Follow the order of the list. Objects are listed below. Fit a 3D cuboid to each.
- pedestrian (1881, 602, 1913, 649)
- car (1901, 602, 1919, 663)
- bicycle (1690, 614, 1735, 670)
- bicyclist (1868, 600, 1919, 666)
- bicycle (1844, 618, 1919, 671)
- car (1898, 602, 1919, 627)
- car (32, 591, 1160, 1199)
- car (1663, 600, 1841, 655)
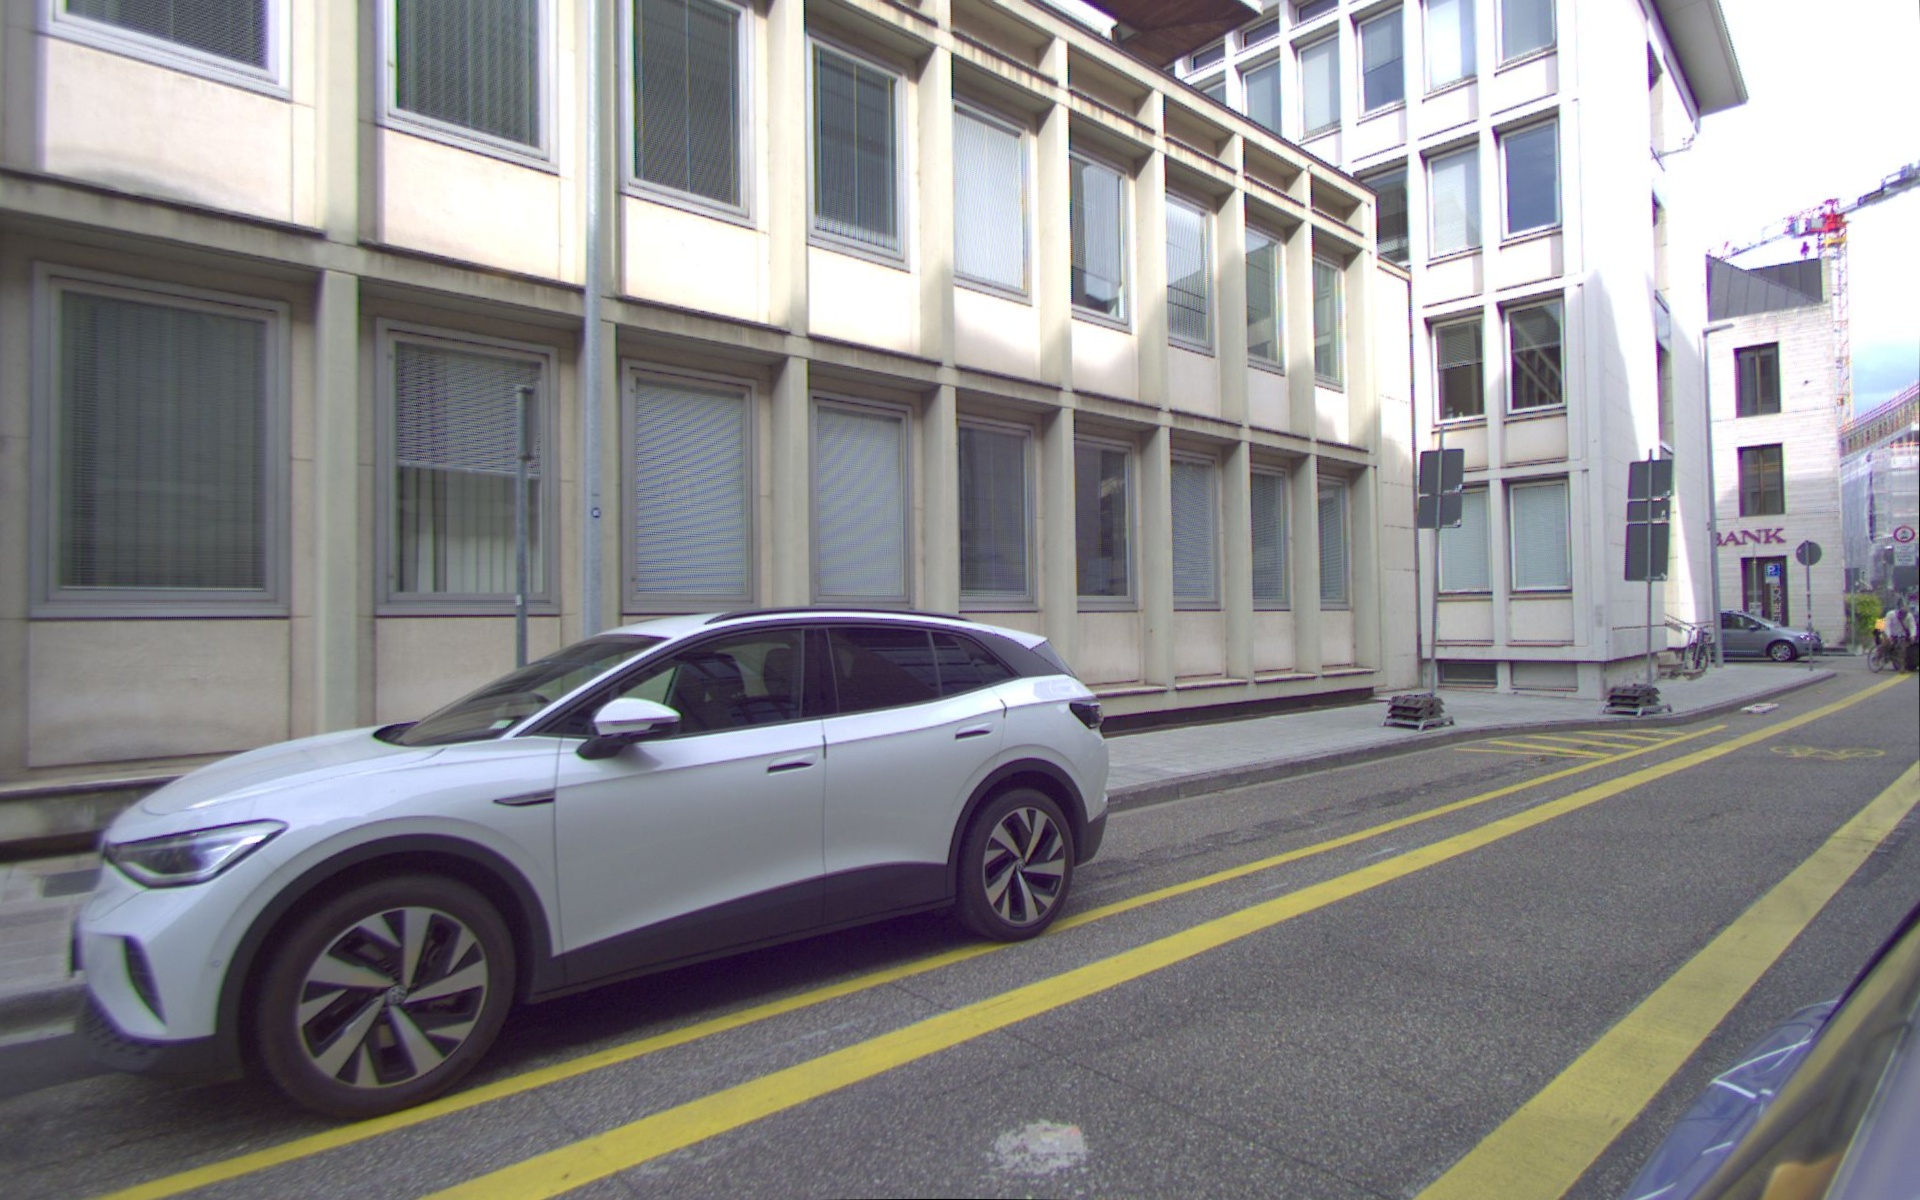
[{"bbox_3d":[37.324,1.016,40.318,0.858,1.854,0.762,-2,-1,42],"label":"pedestrian"},{"bbox_3d":[24.327,0.768,23.542,1.689,1.510,3.754,-1,-1,9],"label":"car"},{"bbox_3d":[16.984,0.923,22.815,0.588,1.182,1.786,-2,-1,43],"label":"bicycle"},{"bbox_3d":[23.269,0.809,25.025,0.881,1.614,0.872,-1,-1,18],"label":"bicyclist"},{"bbox_3d":[23.284,1.077,25.164,0.859,1.210,2.847,-1,-1,18],"label":"bicycle"},{"bbox_3d":[60.307,0.886,63.418,1.578,1.505,3.952,-1,-1,34],"label":"car"},{"bbox_3d":[-1.260,0.815,4.762,4.430,1.626,1.864,0,-2,-39],"label":"car"},{"bbox_3d":[24.822,0.851,31.825,1.785,1.611,4.184,0,-1,-44],"label":"car"}]
